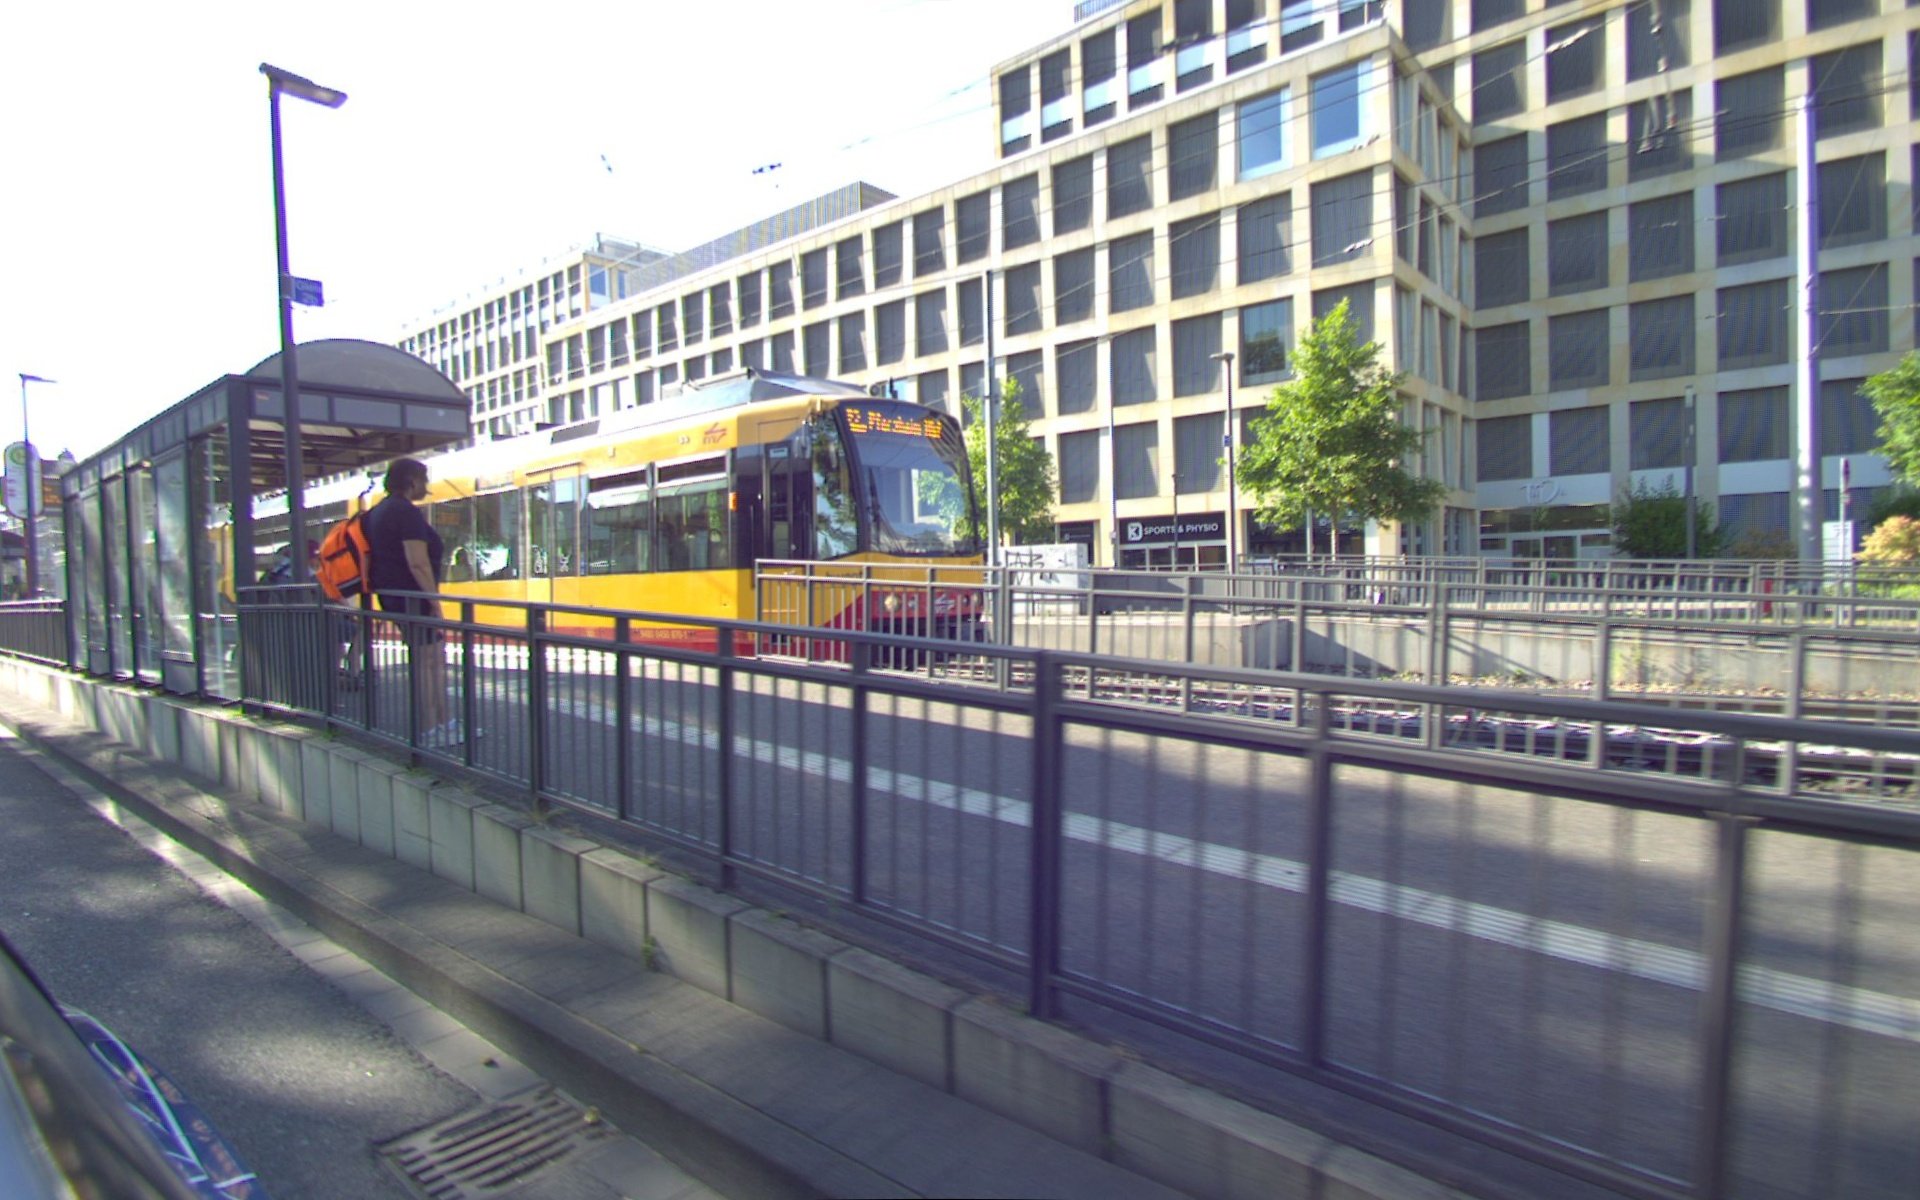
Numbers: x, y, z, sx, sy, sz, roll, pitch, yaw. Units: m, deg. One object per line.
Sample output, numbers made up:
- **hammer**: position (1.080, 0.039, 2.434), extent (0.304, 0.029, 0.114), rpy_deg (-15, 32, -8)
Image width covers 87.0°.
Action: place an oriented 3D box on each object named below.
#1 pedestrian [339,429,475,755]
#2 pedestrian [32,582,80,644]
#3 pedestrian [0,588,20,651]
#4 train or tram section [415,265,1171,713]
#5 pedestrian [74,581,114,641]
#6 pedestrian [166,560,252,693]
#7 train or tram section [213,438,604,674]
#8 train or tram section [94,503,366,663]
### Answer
- **pedestrian**: position (-3.145, -0.044, 5.749), extent (0.665, 1.729, 0.407), rpy_deg (-1, 1, 41)
- **pedestrian**: position (-26.844, 0.383, 30.048), extent (0.640, 1.797, 0.795), rpy_deg (-2, 1, 1)
- **pedestrian**: position (-27.696, 0.557, 29.284), extent (0.681, 1.797, 0.603), rpy_deg (-1, 1, 41)
- **train or tram section**: position (-3.244, -0.944, 13.837), extent (11.836, 3.858, 3.275), rpy_deg (-1, 2, 41)
- **pedestrian**: position (-26.328, 0.323, 30.776), extent (0.625, 1.797, 0.785), rpy_deg (-1, 1, 41)
- **pedestrian**: position (-7.669, 0.254, 10.339), extent (0.500, 1.302, 0.561), rpy_deg (-1, 2, 40)
- **train or tram section**: position (-12.301, -0.706, 21.664), extent (11.836, 3.858, 3.275), rpy_deg (-1, 2, 41)
- **train or tram section**: position (-22.306, -0.396, 30.301), extent (14.210, 3.858, 3.275), rpy_deg (-1, 2, 41)
